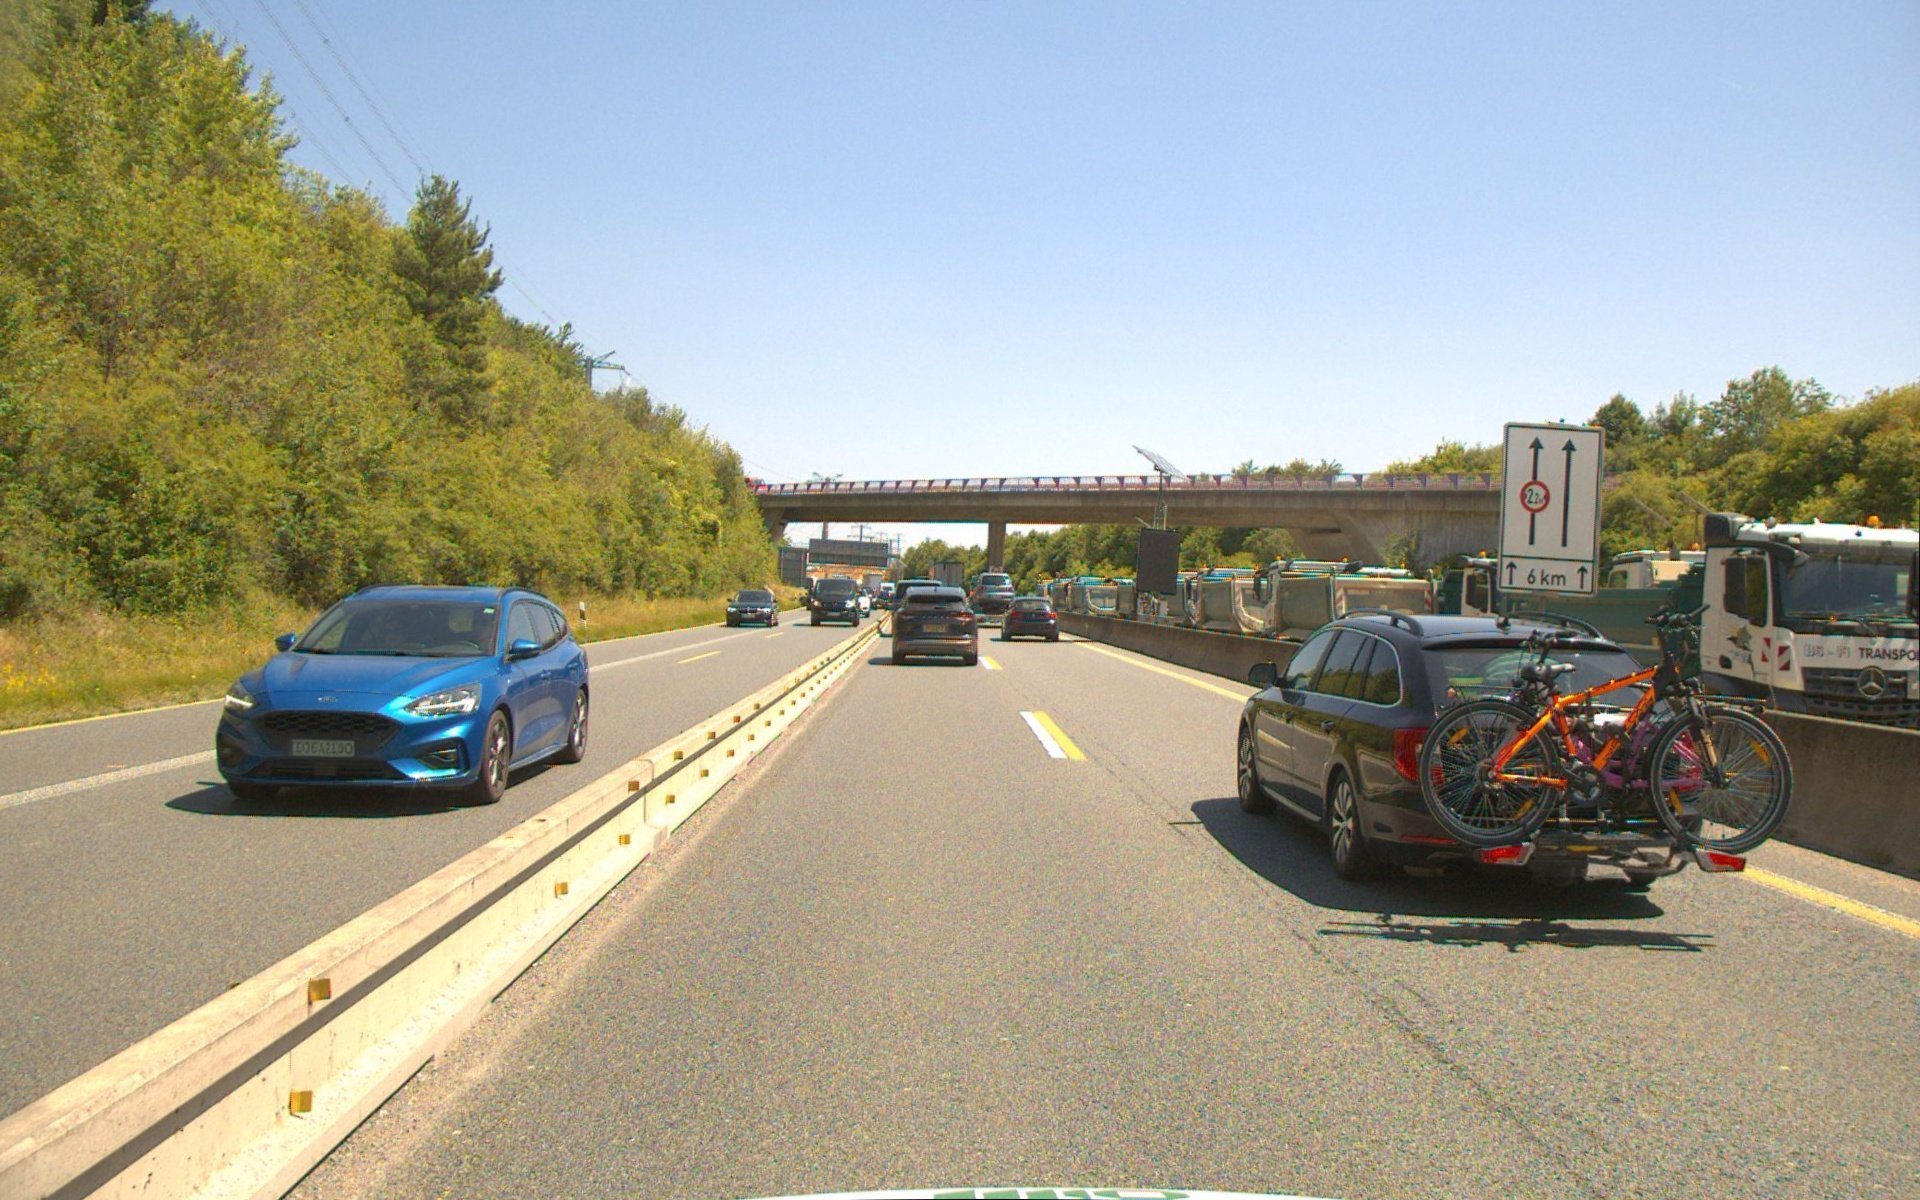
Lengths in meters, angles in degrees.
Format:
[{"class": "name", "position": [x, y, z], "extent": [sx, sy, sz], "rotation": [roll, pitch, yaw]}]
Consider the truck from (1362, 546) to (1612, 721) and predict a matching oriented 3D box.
[{"class": "truck", "position": [12.284, 0.685, 39.666], "extent": [2.633, 3.619, 9.600], "rotation": [1, 0, -1]}]

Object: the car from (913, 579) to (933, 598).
[{"class": "car", "position": [-4.002, -1.197, 178.954], "extent": [1.862, 2.003, 4.272], "rotation": [2, 0, -5]}]

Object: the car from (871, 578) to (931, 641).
[{"class": "car", "position": [-1.961, 0.303, 56.284], "extent": [1.860, 2.003, 4.275], "rotation": [2, 0, -1]}]

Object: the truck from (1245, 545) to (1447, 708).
[{"class": "truck", "position": [9.547, 0.570, 42.177], "extent": [2.633, 3.619, 9.600], "rotation": [1, 0, -1]}]

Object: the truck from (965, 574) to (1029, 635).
[{"class": "truck", "position": [1.614, 0.162, 75.514], "extent": [2.357, 2.603, 7.497], "rotation": [2, 1, -2]}]

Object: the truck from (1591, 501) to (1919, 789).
[{"class": "truck", "position": [13.069, 0.571, 25.656], "extent": [2.633, 3.619, 9.600], "rotation": [1, 0, -1]}]

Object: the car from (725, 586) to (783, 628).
[{"class": "car", "position": [-8.077, 0.240, 65.174], "extent": [1.757, 1.552, 4.530], "rotation": [2, 0, -1]}]

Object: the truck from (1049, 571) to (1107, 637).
[{"class": "truck", "position": [7.407, 0.235, 104.889], "extent": [2.633, 3.923, 9.321], "rotation": [1, 0, -2]}]

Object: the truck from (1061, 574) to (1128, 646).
[{"class": "truck", "position": [7.508, 0.502, 93.364], "extent": [2.633, 3.826, 9.321], "rotation": [1, 0, -2]}]

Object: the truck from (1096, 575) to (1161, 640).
[{"class": "truck", "position": [10.377, 0.397, 102.669], "extent": [2.633, 3.792, 9.321], "rotation": [1, 0, -2]}]

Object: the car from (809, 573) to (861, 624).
[{"class": "car", "position": [-5.218, -0.075, 69.703], "extent": [1.852, 2.049, 4.817], "rotation": [2, 0, -1]}]

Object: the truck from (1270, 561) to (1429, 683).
[{"class": "truck", "position": [12.116, 0.620, 52.445], "extent": [2.632, 3.437, 9.601], "rotation": [1, 0, -1]}]

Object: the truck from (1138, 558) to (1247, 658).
[{"class": "truck", "position": [9.118, 0.265, 65.937], "extent": [2.633, 3.619, 9.321], "rotation": [1, 0, -2]}]

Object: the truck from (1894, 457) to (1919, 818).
[{"class": "truck", "position": [10.845, 0.421, 12.320], "extent": [2.482, 3.572, 8.941], "rotation": [1, 0, -1]}]

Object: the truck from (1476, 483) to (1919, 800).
[{"class": "truck", "position": [10.363, 0.464, 23.956], "extent": [2.487, 3.619, 9.600], "rotation": [1, 0, -1]}]

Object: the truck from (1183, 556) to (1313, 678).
[{"class": "truck", "position": [9.301, 0.493, 54.430], "extent": [2.632, 3.619, 9.406], "rotation": [1, 0, 0]}]

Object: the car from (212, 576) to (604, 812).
[{"class": "car", "position": [-3.951, 0.603, 12.595], "extent": [1.678, 1.450, 4.168], "rotation": [2, 0, -2]}]

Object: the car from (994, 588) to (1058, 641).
[{"class": "car", "position": [2.129, 0.458, 54.282], "extent": [1.860, 1.613, 4.275], "rotation": [2, 0, -1]}]

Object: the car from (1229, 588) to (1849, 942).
[{"class": "car", "position": [2.964, 0.736, 9.777], "extent": [1.860, 1.516, 4.946], "rotation": [2, 0, -1]}]

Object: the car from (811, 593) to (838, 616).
[{"class": "car", "position": [-9.834, 0.323, 119.821], "extent": [1.665, 1.592, 3.994], "rotation": [2, 0, -1]}]

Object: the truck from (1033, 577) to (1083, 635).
[{"class": "truck", "position": [6.917, 0.363, 117.732], "extent": [2.633, 3.910, 9.321], "rotation": [1, 0, -2]}]

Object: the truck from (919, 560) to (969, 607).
[{"class": "truck", "position": [-1.464, -1.416, 143.852], "extent": [3.229, 3.912, 10.096], "rotation": [1, 0, -6]}]

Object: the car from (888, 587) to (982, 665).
[{"class": "car", "position": [-0.534, 0.531, 35.703], "extent": [1.860, 1.531, 4.275], "rotation": [2, 0, -1]}]

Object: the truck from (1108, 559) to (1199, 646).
[{"class": "truck", "position": [8.678, 0.078, 75.218], "extent": [2.633, 3.619, 9.321], "rotation": [1, 0, -2]}]

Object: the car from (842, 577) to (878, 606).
[{"class": "car", "position": [-5.719, -0.514, 95.063], "extent": [1.806, 1.560, 4.670], "rotation": [2, 0, -1]}]

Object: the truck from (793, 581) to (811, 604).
[{"class": "truck", "position": [-23.137, -1.115, 241.918], "extent": [2.460, 3.242, 10.096], "rotation": [1, 0, -6]}]
